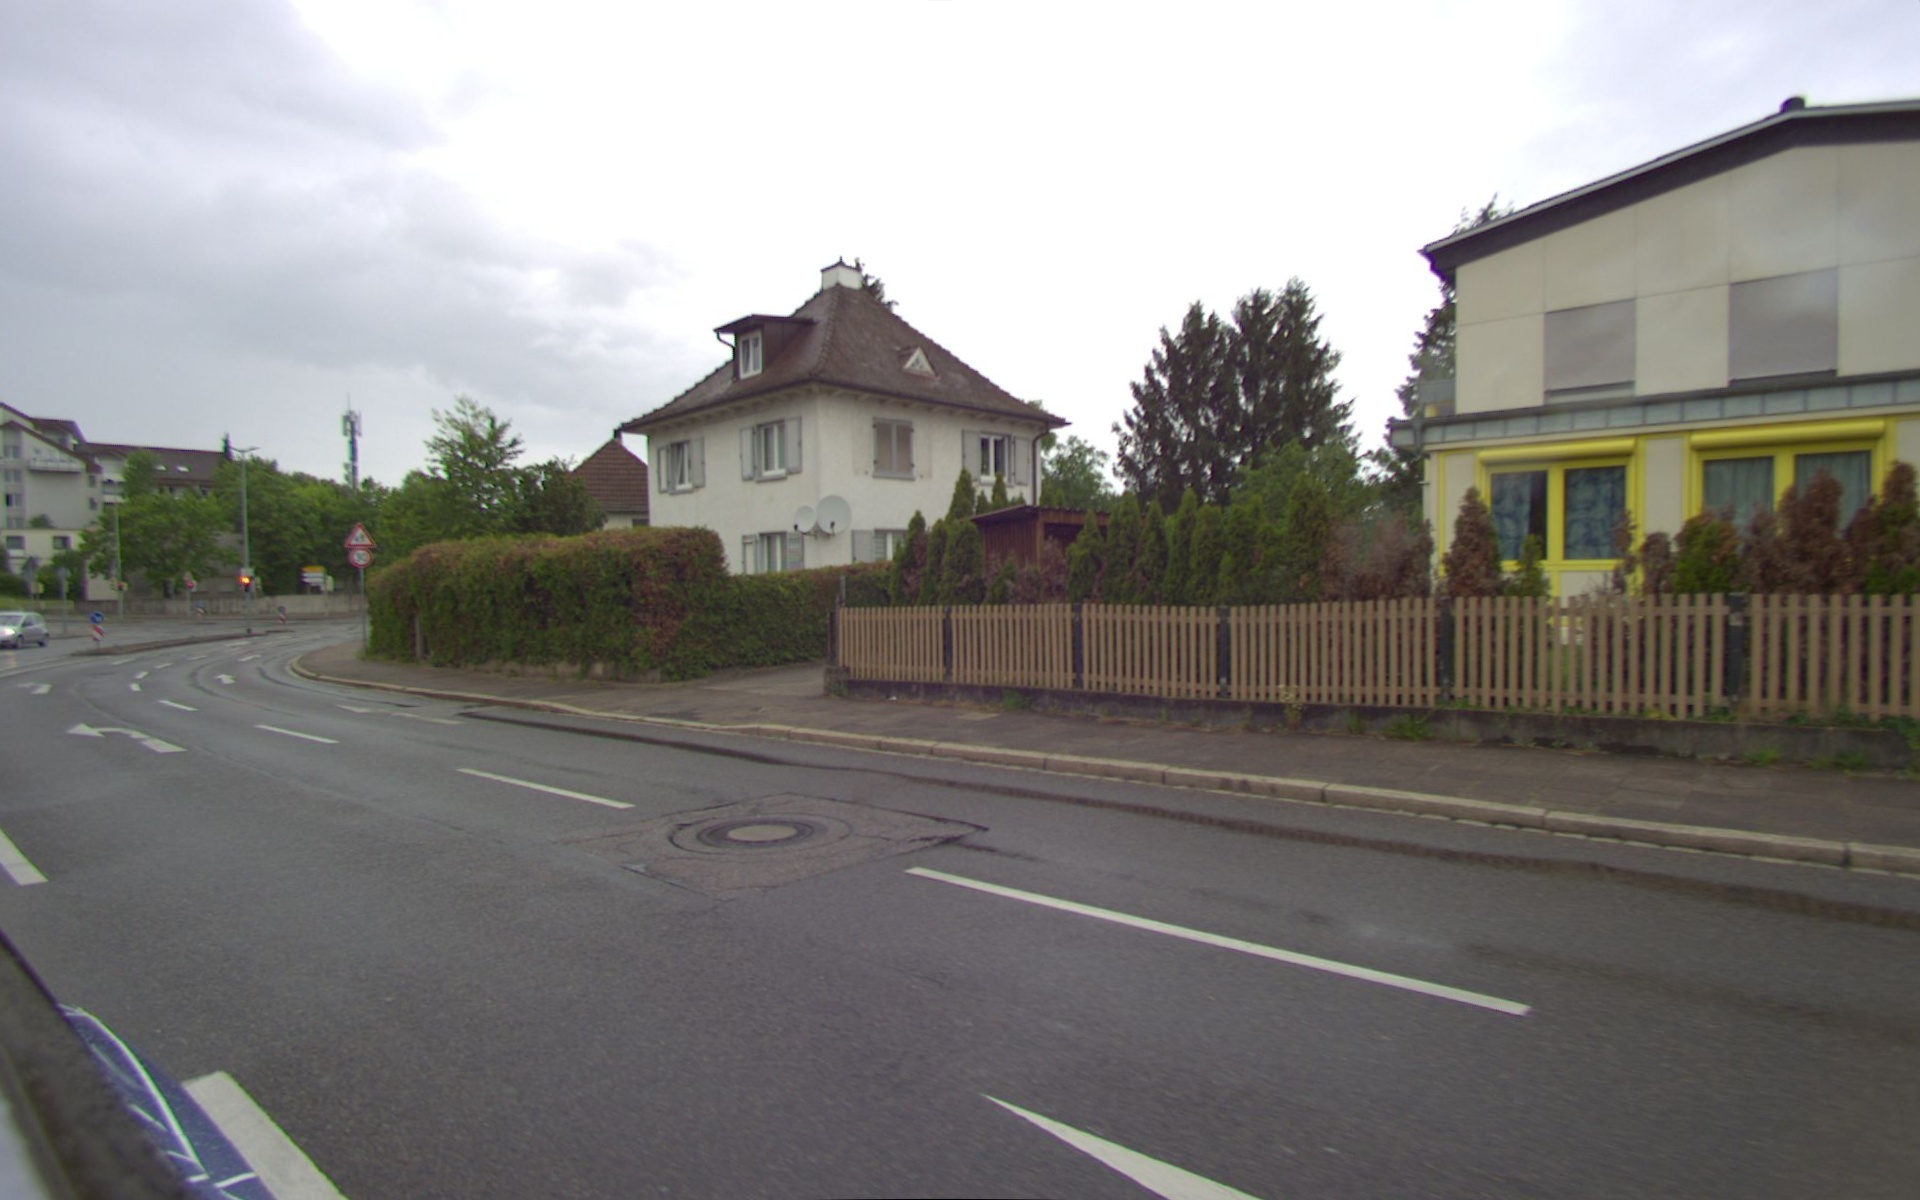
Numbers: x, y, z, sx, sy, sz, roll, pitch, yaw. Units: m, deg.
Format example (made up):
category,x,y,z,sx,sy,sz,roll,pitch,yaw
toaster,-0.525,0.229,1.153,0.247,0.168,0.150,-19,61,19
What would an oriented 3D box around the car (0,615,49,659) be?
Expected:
category,x,y,z,sx,sy,sz,roll,pitch,yaw
car,-41.036,1.573,43.271,1.965,1.669,4.014,0,1,-24
